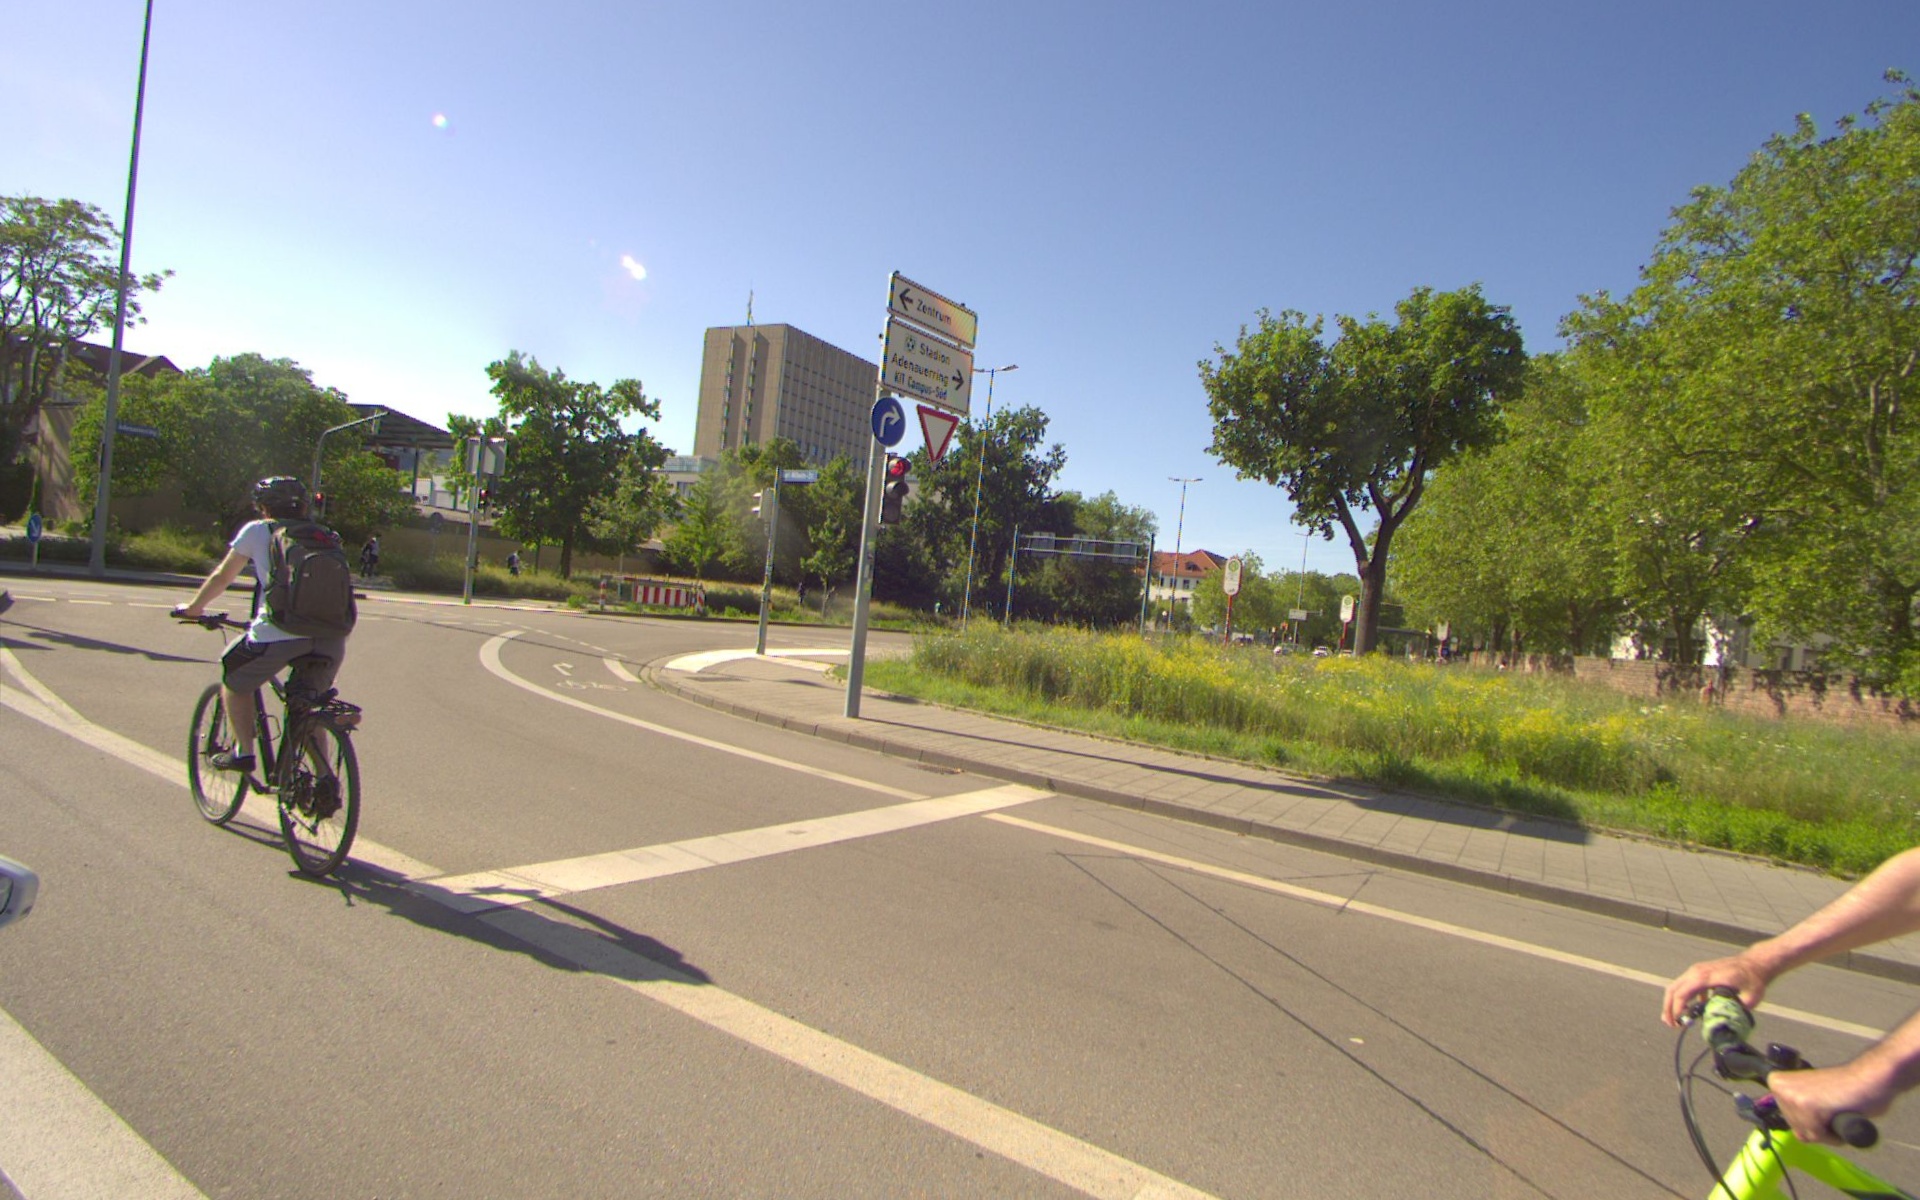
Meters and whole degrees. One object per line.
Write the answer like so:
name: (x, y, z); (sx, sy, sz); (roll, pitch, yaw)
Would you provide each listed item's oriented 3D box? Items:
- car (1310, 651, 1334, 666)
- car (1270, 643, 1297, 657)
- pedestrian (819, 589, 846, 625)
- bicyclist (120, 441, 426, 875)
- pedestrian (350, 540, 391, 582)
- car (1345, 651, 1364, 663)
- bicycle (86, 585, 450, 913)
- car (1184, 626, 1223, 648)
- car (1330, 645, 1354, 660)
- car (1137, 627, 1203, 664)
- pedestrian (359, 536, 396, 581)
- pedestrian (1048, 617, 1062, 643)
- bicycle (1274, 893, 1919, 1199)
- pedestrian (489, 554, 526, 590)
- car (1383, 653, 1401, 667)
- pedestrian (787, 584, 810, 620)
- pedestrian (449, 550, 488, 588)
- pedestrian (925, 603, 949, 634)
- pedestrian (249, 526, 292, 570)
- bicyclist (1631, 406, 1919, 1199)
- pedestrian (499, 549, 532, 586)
car: (49.369, 7.990, 137.257); (1.968, 1.625, 4.506); (7, 0, 33)
car: (39.357, 6.036, 122.226); (1.968, 1.378, 3.998); (7, 0, 34)
pedestrian: (-8.002, 0.417, 63.301); (0.966, 2.106, 1.186); (7, 1, 35)
bicyclist: (-3.205, 0.234, 4.711); (0.924, 1.806, 0.678); (6, -1, 30)
pedestrian: (-23.914, -1.592, 40.845); (0.865, 1.540, 1.074); (7, 1, 36)
car: (63.906, 9.169, 162.802); (1.892, 1.625, 4.073); (7, 0, 34)
bicycle: (-3.277, 0.607, 4.713); (1.795, 1.152, 0.616); (7, 0, 30)
car: (22.434, 3.437, 92.662); (1.882, 1.625, 4.124); (7, 0, 37)
car: (51.509, 7.078, 135.542); (1.968, 1.625, 4.127); (7, 0, 35)
car: (10.631, 2.325, 50.831); (1.715, 1.535, 3.988); (7, 0, 35)
pedestrian: (-24.427, -1.746, 42.171); (0.912, 1.754, 0.962); (7, 1, 38)
pedestrian: (8.238, 2.606, 86.949); (0.633, 2.194, 0.912); (7, 1, 35)
bicycle: (1.366, 1.171, 1.267); (1.813, 1.063, 0.672); (7, -1, 31)
pedestrian: (-21.296, -1.314, 47.312); (0.975, 1.540, 1.129); (7, 1, 35)
car: (76.232, 10.587, 177.494); (1.967, 2.062, 4.836); (7, 0, 33)
pedestrian: (-10.132, 0.134, 63.054); (0.800, 2.106, 0.896); (7, 1, 35)
pedestrian: (-21.744, -1.372, 44.501); (0.927, 1.540, 1.145); (7, 1, 38)
pedestrian: (-1.688, 1.361, 74.753); (1.065, 2.106, 1.231); (7, 1, 35)
pedestrian: (-26.568, -2.009, 38.766); (0.917, 1.540, 1.083); (7, 1, 41)
bicyclist: (1.525, 0.646, 1.218); (1.063, 1.601, 0.675); (7, -1, 31)
pedestrian: (-20.688, -1.506, 46.792); (0.871, 1.540, 0.971); (7, 1, 35)
